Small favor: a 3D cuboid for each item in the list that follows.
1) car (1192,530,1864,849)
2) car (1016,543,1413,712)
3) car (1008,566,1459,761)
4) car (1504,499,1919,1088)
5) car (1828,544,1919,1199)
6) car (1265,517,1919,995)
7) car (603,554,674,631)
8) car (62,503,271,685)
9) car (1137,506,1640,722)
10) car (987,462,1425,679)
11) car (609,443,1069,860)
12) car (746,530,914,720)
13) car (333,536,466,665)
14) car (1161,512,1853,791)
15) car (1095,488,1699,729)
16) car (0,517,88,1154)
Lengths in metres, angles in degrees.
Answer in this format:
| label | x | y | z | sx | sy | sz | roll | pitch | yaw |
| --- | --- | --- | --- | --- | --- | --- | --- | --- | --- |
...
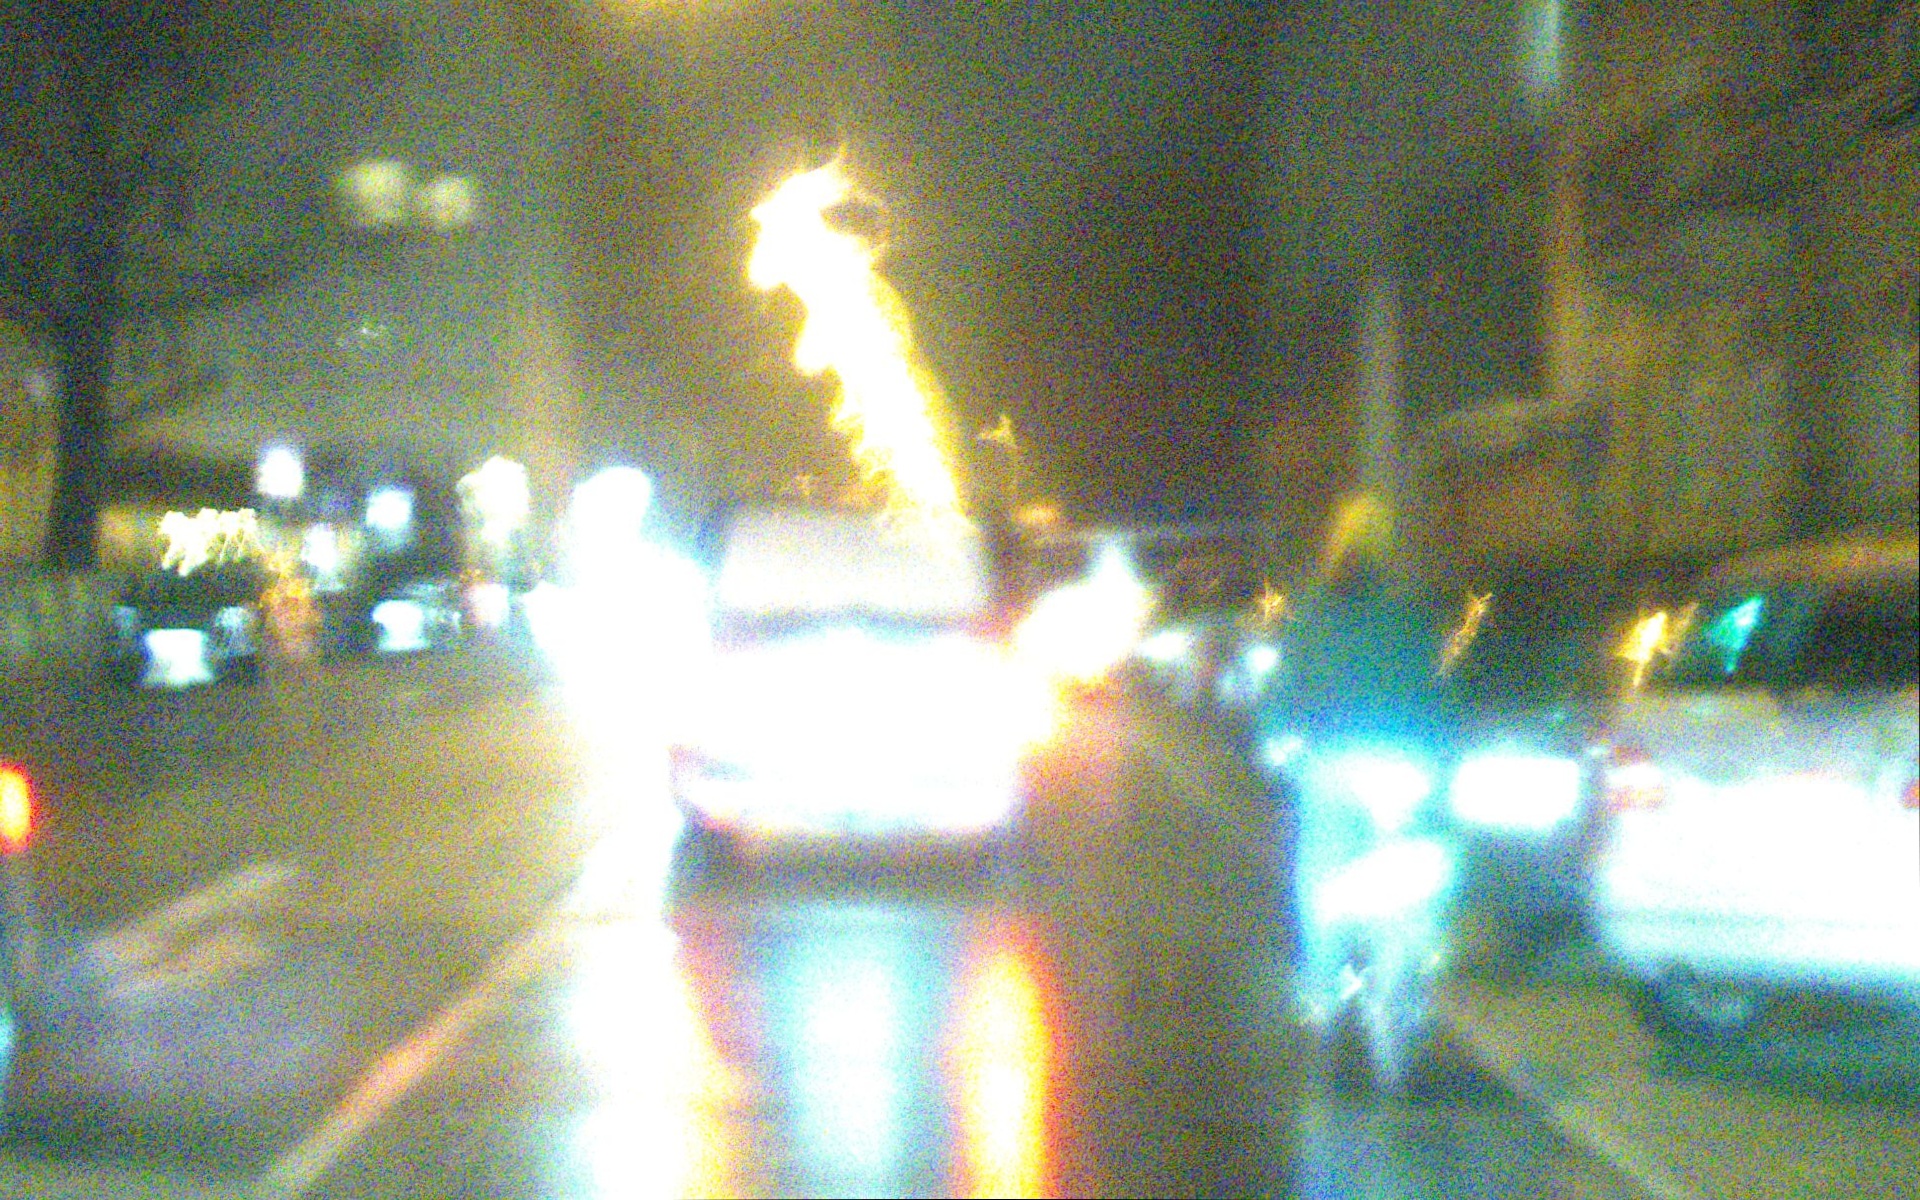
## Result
| label | x | y | z | sx | sy | sz | roll | pitch | yaw |
| --- | --- | --- | --- | --- | --- | --- | --- | --- | --- |
| car | 3.464 | 0.451 | 20.505 | 4.174 | 1.639 | 1.661 | -3 | 2 | -41 |
| car | 2.802 | 0.258 | 37.372 | 4.173 | 1.639 | 1.769 | -2 | 2 | -38 |
| car | 2.659 | 0.558 | 32.896 | 4.173 | 1.639 | 1.769 | -2 | 2 | -38 |
| car | 3.878 | 0.449 | 10.880 | 4.173 | 1.571 | 1.882 | -2 | 2 | -38 |
| car | 4.148 | 0.546 | 8.142 | 4.173 | 1.452 | 1.857 | -2 | 2 | -38 |
| car | 3.401 | 0.482 | 13.591 | 4.172 | 1.585 | 1.731 | -2 | 2 | -33 |
| car | -8.426 | -0.231 | 90.399 | 1.724 | 1.965 | 4.221 | 0 | 1 | -4 |
| car | -9.162 | -0.098 | 39.473 | 1.990 | 1.965 | 4.303 | 0 | 1 | -18 |
| car | 3.671 | 0.071 | 29.107 | 4.173 | 1.639 | 1.769 | -2 | 2 | -38 |
| car | 2.962 | -0.392 | 40.812 | 4.995 | 2.383 | 2.139 | -2 | 2 | -38 |
| car | -0.578 | 0.218 | 18.432 | 2.168 | 1.965 | 4.302 | 0 | 1 | 0 |
| car | -1.483 | 0.237 | 37.917 | 1.724 | 1.965 | 4.221 | 0 | 1 | -4 |
| car | -8.912 | -0.017 | 54.493 | 1.724 | 1.965 | 3.729 | 0 | 1 | -15 |
| car | 3.616 | 0.289 | 22.798 | 4.171 | 1.639 | 1.770 | -2 | 1 | -20 |
| car | 3.307 | 0.025 | 26.093 | 4.171 | 1.639 | 1.770 | -2 | 1 | -20 |
| car | -3.204 | 0.587 | 6.804 | 1.787 | 1.549 | 4.855 | 0 | 1 | -1 |
